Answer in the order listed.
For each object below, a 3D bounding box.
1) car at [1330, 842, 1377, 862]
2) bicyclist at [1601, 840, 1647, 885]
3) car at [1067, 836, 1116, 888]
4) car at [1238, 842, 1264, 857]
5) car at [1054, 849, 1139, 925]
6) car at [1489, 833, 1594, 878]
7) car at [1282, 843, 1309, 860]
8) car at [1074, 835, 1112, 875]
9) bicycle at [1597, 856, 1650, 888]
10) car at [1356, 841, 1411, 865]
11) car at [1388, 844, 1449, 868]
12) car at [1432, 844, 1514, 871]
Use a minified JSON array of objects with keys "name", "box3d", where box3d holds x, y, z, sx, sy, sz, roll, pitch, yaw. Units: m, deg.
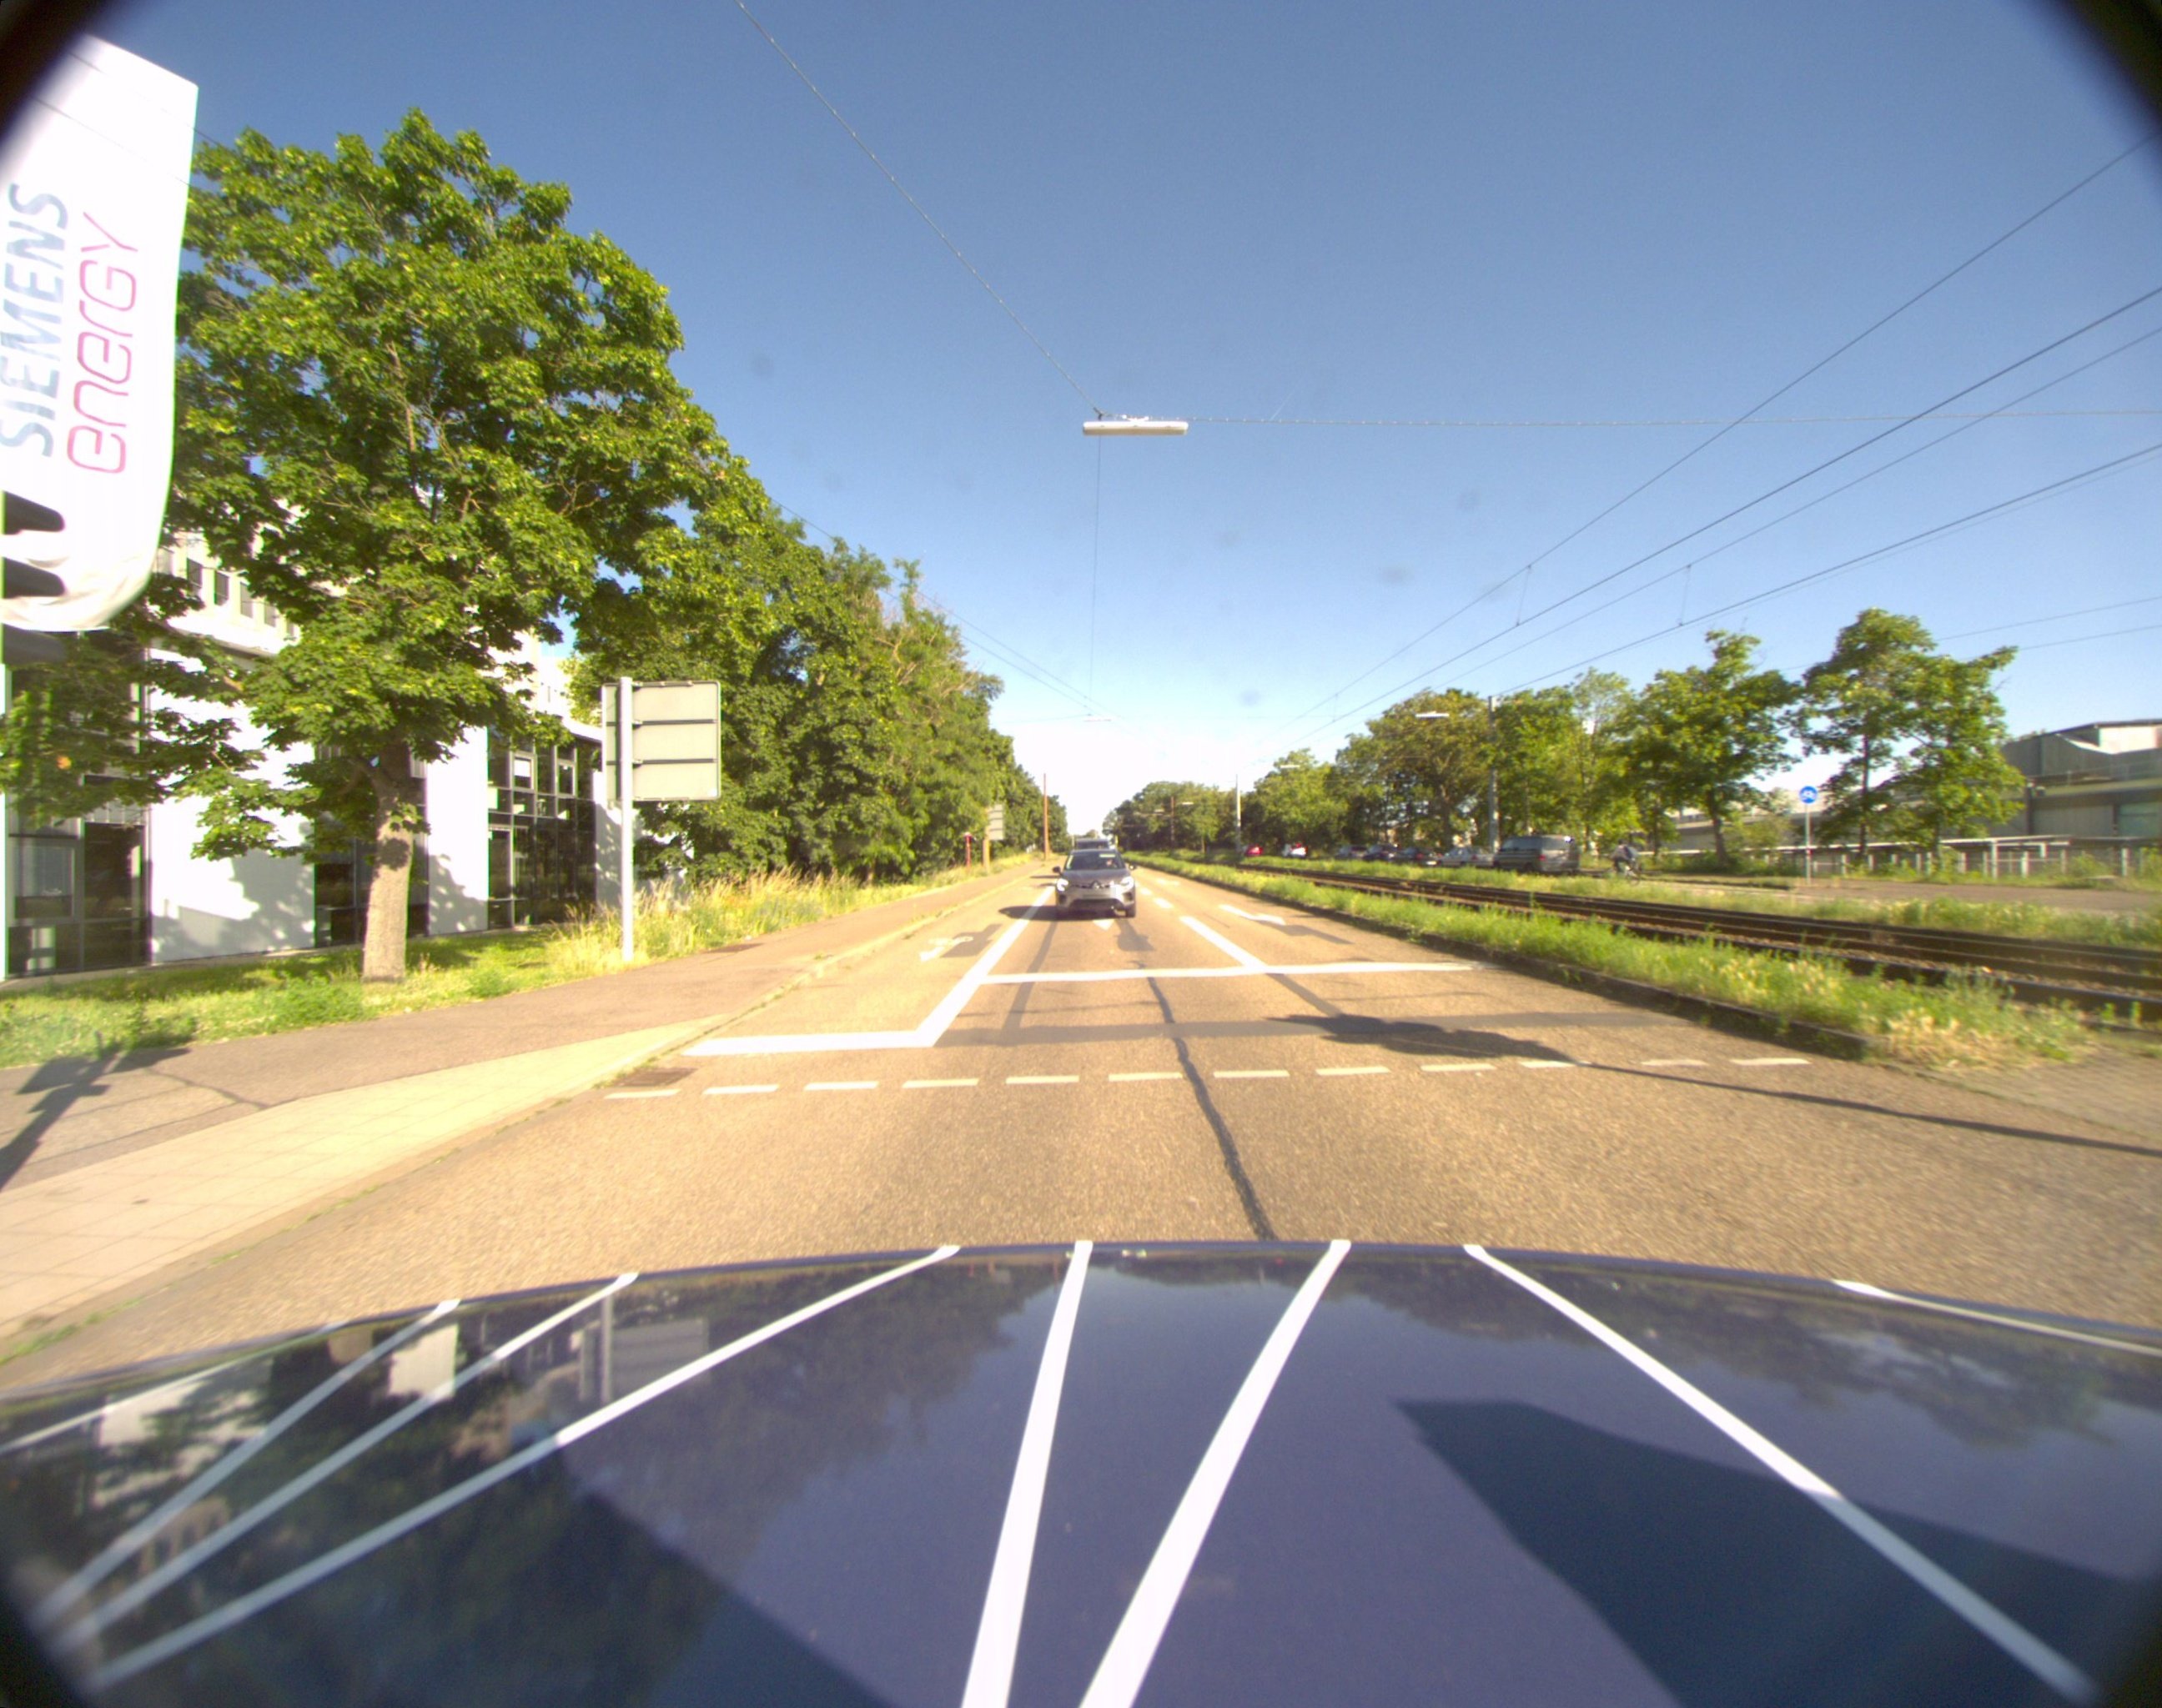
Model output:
[{"name":"car","box3d":[21.822,-0.159,60.984,2.130,1.554,4.560,-2,0,0]},{"name":"bicyclist","box3d":[19.874,0.306,27.821,0.804,1.584,1.236,-2,1,2]},{"name":"car","box3d":[0.454,0.322,33.606,1.998,2.113,4.000,-2,0,1]},{"name":"car","box3d":[21.217,-0.593,95.037,2.321,1.723,4.798,-2,0,3]},{"name":"car","box3d":[0.293,0.692,18.602,1.796,1.583,4.529,-1,1,-1]},{"name":"car","box3d":[21.505,0.042,35.754,2.207,1.923,4.685,-2,0,2]},{"name":"car","box3d":[21.576,-0.259,76.559,1.859,1.549,4.158,-2,0,5]},{"name":"car","box3d":[0.650,0.069,43.876,1.999,2.198,4.786,-1,0,-1]},{"name":"bicycle","box3d":[19.887,0.631,27.908,0.698,1.096,1.781,-2,0,2]},{"name":"car","box3d":[21.572,-0.088,54.402,2.130,1.578,4.616,-2,0,1]},{"name":"car","box3d":[21.617,0.106,48.908,1.960,1.418,4.488,-2,0,1]},{"name":"car","box3d":[21.825,0.177,42.515,2.130,1.372,4.615,-2,0,-1]}]
